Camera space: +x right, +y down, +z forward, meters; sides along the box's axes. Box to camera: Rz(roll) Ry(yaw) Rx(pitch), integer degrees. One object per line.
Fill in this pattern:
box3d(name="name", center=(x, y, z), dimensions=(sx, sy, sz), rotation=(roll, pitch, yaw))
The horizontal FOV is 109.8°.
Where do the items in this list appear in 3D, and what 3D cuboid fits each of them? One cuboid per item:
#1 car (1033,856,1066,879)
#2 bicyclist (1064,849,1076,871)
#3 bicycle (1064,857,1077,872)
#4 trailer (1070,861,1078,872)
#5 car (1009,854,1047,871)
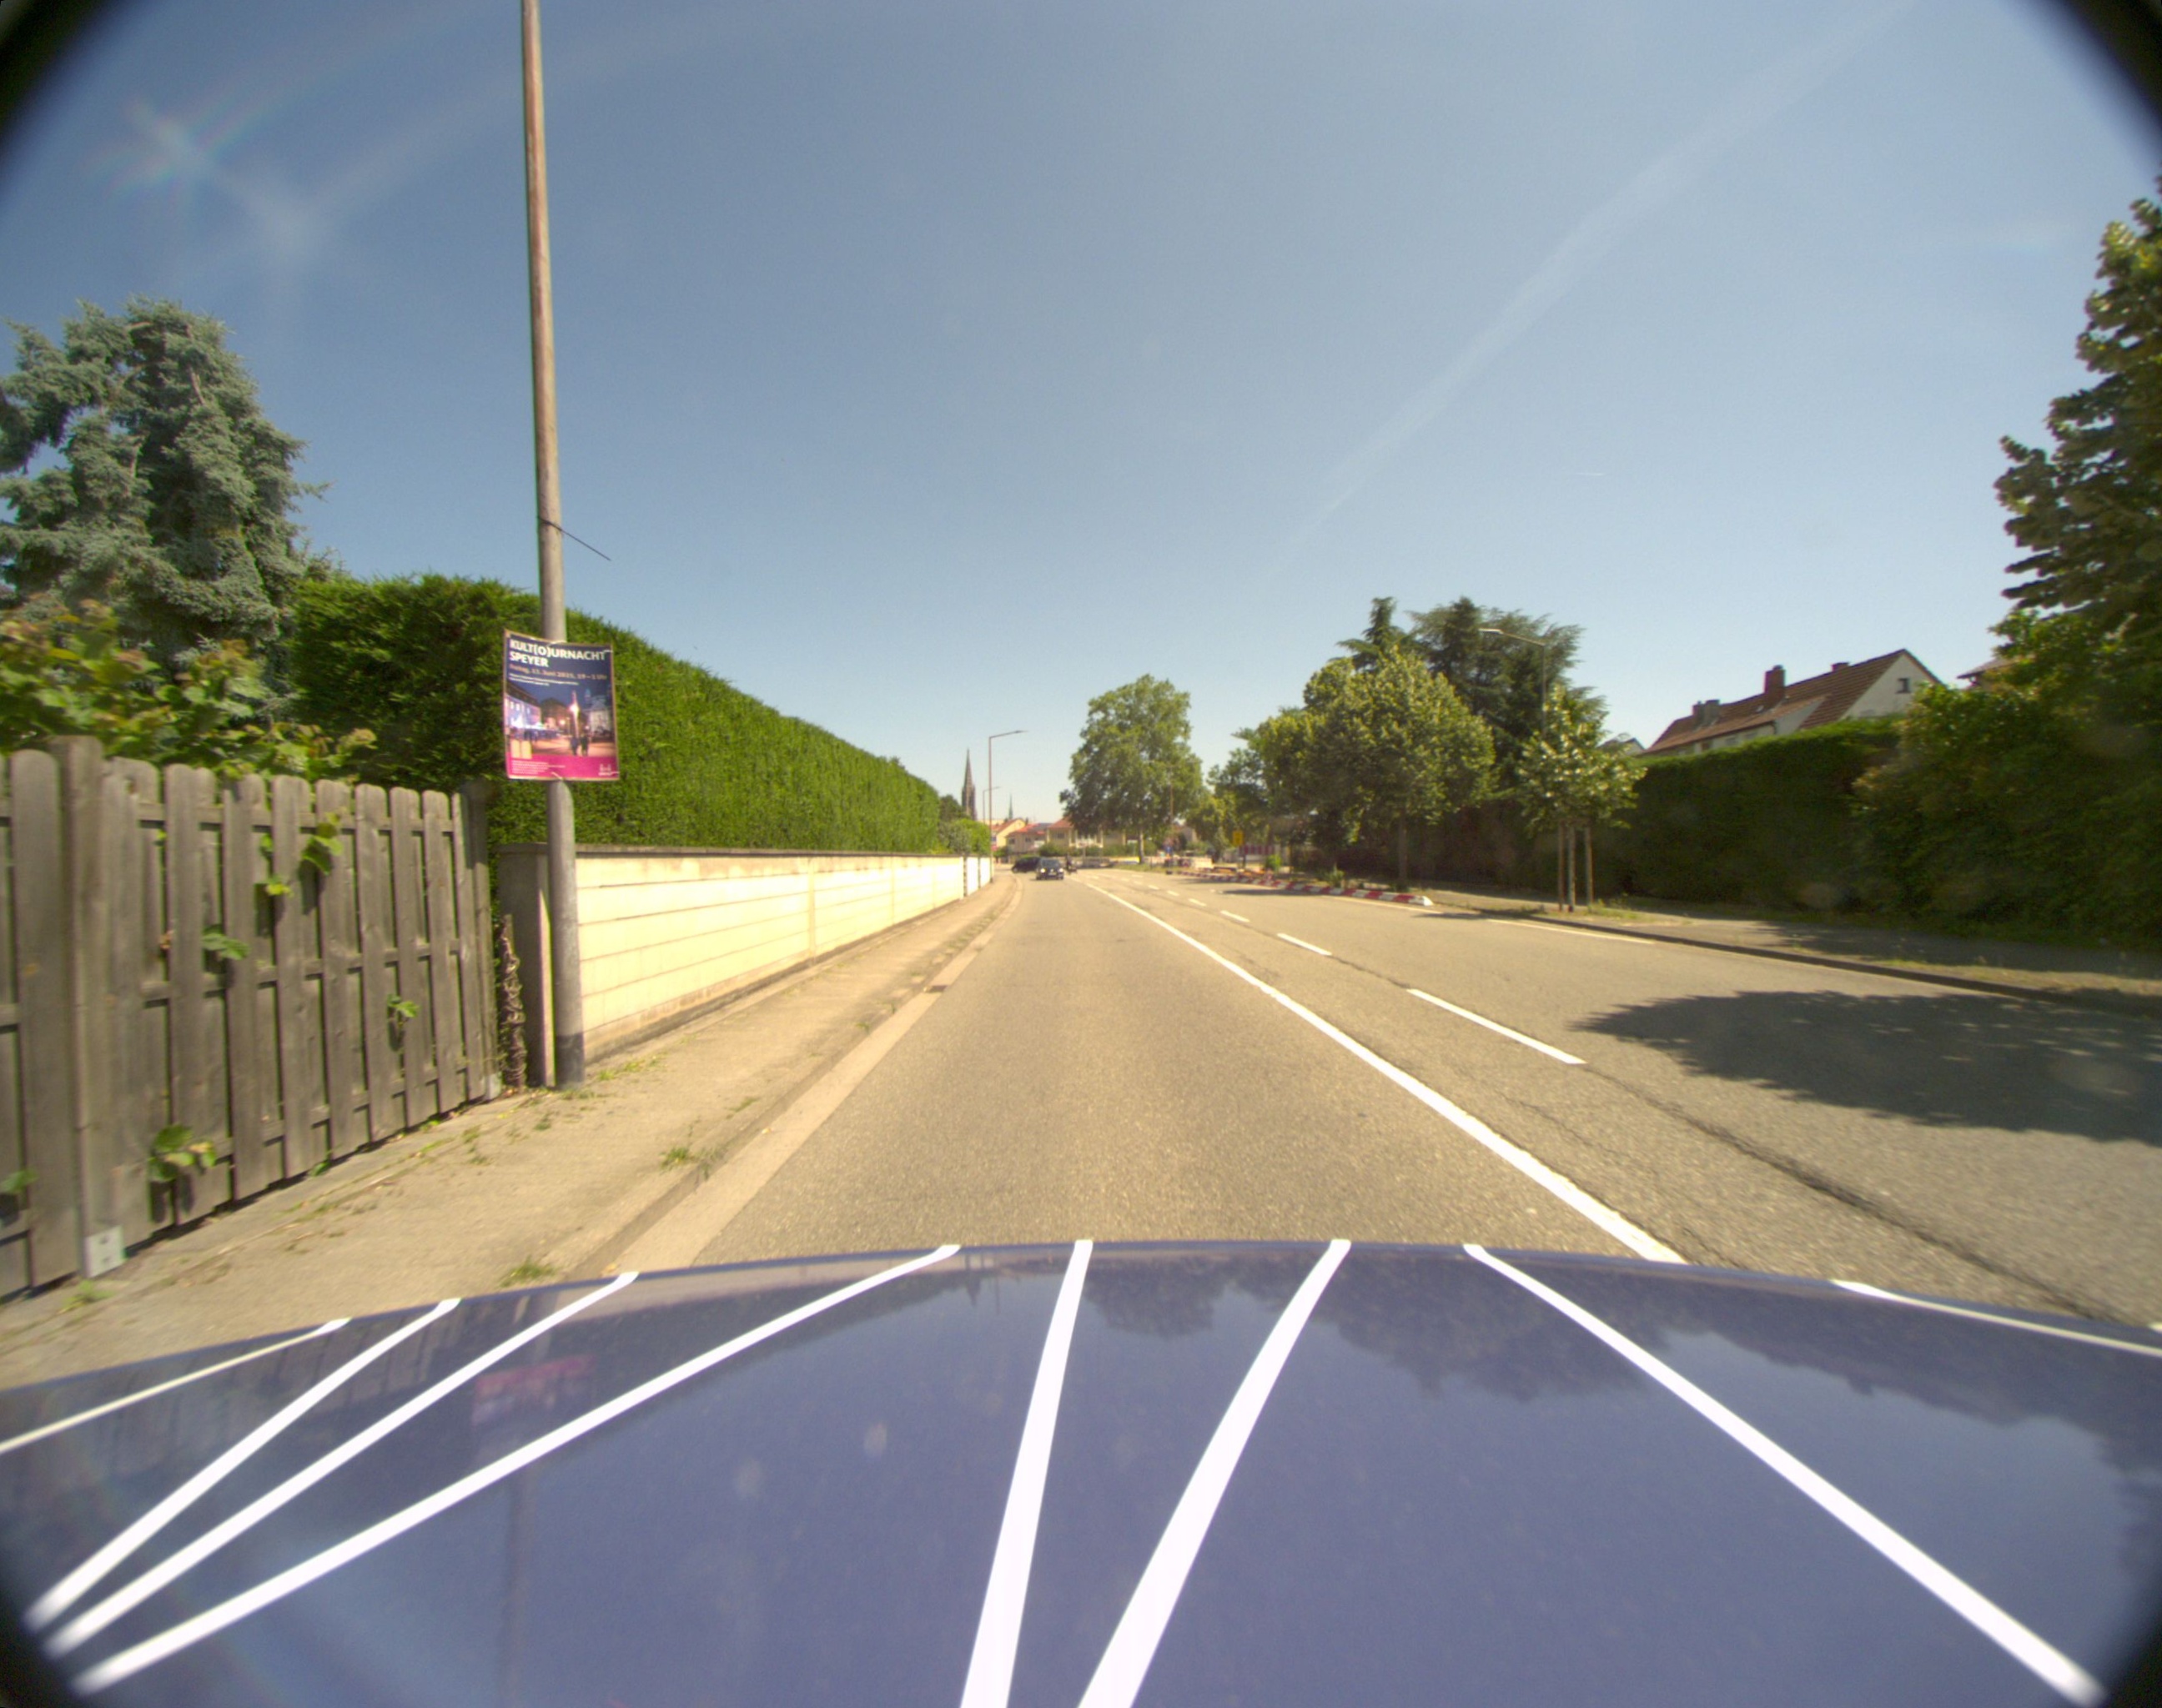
box3d(name="car", center=(-2.221, 0.877, 52.201), dimensions=(1.609, 1.436, 3.905), rotation=(-2, 1, -12))
box3d(name="bicyclist", center=(-0.937, 0.523, 64.228), dimensions=(0.848, 1.854, 0.976), rotation=(-2, 0, -8))
box3d(name="bicycle", center=(-0.925, 0.889, 64.197), dimensions=(0.853, 1.159, 1.976), rotation=(-2, -1, -8))
box3d(name="trailer", center=(-0.586, 1.014, 62.669), dimensions=(0.572, 0.851, 1.132), rotation=(-2, 0, -8))
box3d(name="car", center=(-5.087, 0.823, 72.718), dimensions=(1.734, 1.523, 3.820), rotation=(-3, 1, -40))
